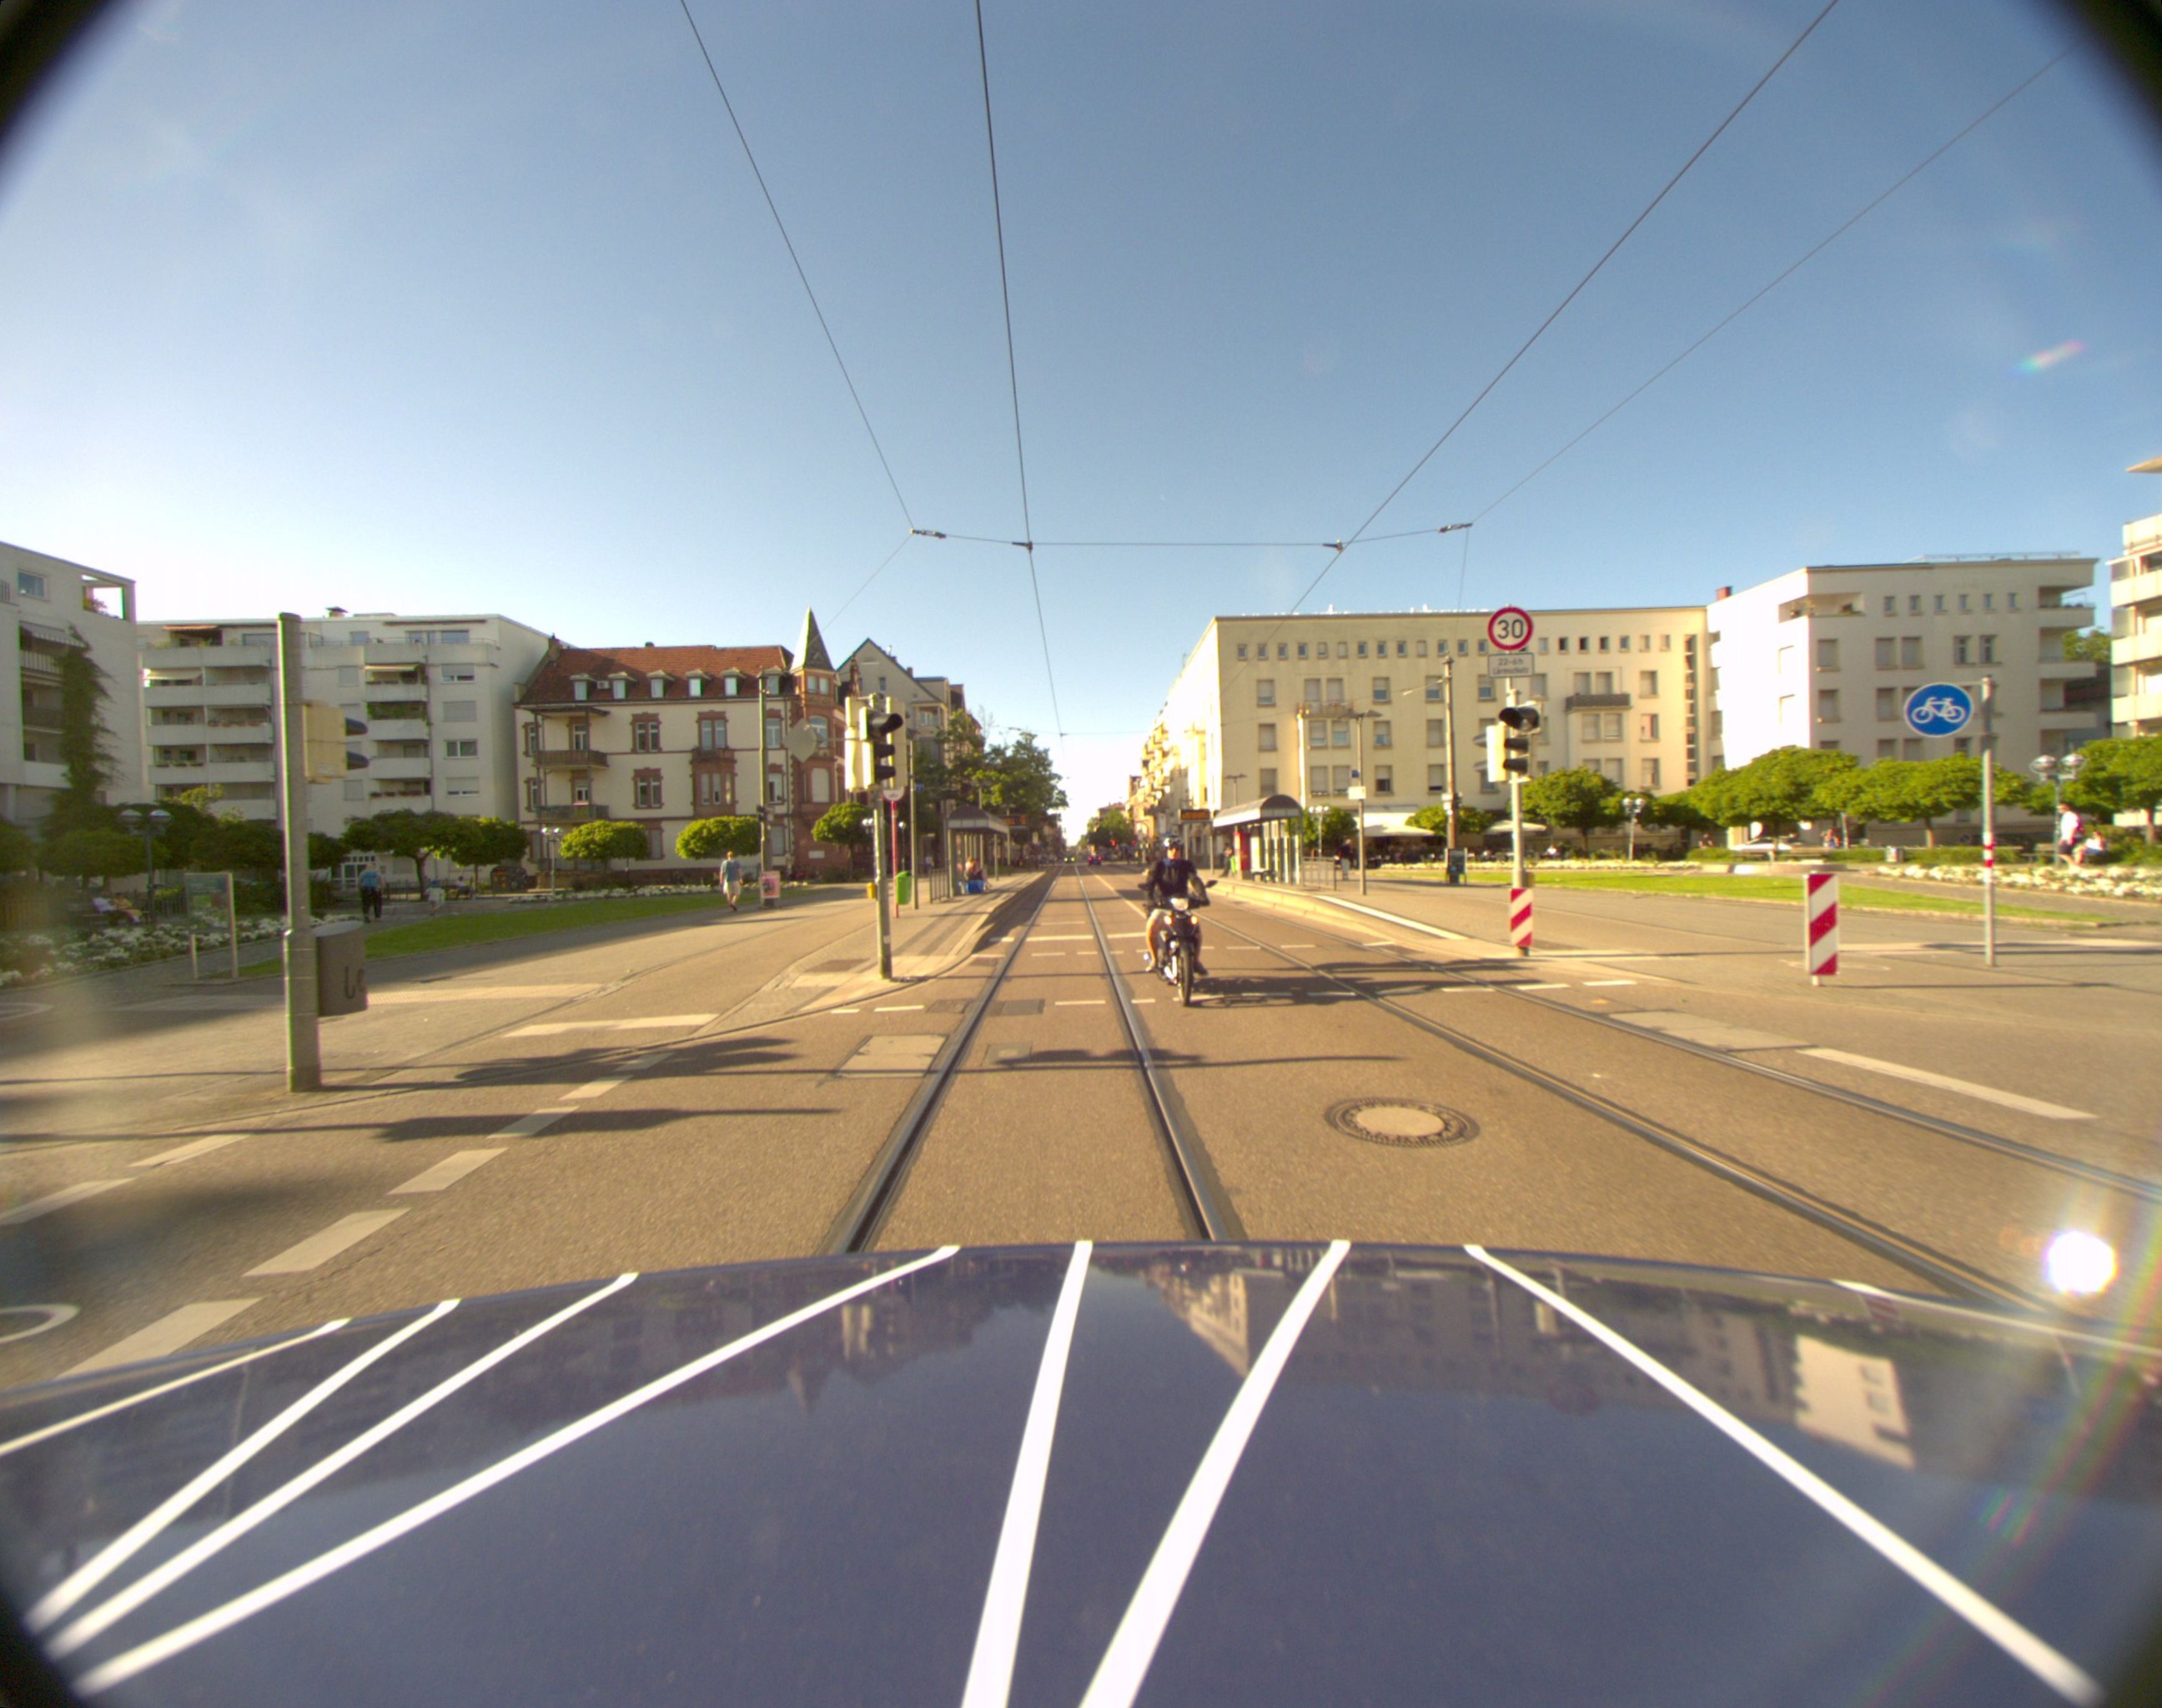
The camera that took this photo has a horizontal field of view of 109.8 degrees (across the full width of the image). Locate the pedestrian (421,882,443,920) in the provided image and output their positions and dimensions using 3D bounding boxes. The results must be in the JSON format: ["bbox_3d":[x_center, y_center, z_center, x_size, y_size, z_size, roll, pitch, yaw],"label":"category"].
[{"bbox_3d":[-19.144,1.373,22.409,0.453,1.076,0.449,-2,1,-40],"label":"pedestrian"}]

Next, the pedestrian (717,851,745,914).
[{"bbox_3d":[-10.946,0.876,23.791,0.650,1.944,0.583,-2,1,-17],"label":"pedestrian"}]

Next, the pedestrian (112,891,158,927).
[{"bbox_3d":[-32.554,1.890,26.150,0.717,1.144,0.637,-2,1,-9],"label":"pedestrian"}]

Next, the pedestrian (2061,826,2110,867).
[{"bbox_3d":[35.029,-0.264,26.493,0.838,1.410,0.667,-2,1,-2],"label":"pedestrian"}]

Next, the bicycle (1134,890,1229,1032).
[{"bbox_3d":[0.976,1.021,7.817,0.767,1.191,1.752,-2,1,2],"label":"bicycle"}]

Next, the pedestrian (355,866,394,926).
[{"bbox_3d":[-19.645,1.146,21.146,0.651,1.592,0.700,-2,1,-36],"label":"pedestrian"}]

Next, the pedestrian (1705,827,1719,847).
[{"bbox_3d":[38.461,-1.024,46.283,0.506,1.215,0.395,-2,1,5],"label":"pedestrian"}]

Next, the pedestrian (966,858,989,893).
[{"bbox_3d":[-3.718,0.773,27.337,0.774,1.197,0.610,-2,1,-9],"label":"pedestrian"}]

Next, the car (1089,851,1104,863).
[{"bbox_3d":[2.087,0.400,101.181,1.970,1.577,4.000,-2,0,1],"label":"car"}]

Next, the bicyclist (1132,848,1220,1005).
[{"bbox_3d":[0.970,0.712,7.981,0.774,1.531,0.939,-2,1,1],"label":"bicyclist"}]

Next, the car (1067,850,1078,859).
[{"bbox_3d":[-1.585,0.087,141.772,1.971,1.577,3.999,-2,0,0],"label":"car"}]

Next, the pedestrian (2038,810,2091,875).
[{"bbox_3d":[26.201,-0.307,20.261,0.669,1.686,0.837,-2,1,-40],"label":"pedestrian"}]

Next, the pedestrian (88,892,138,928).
[{"bbox_3d":[-32.453,1.865,25.474,0.768,1.144,0.637,-2,1,-9],"label":"pedestrian"}]

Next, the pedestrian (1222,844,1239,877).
[{"bbox_3d":[6.795,0.294,34.615,0.551,1.482,0.610,-2,1,-7],"label":"pedestrian"}]

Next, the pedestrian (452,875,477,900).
[{"bbox_3d":[-32.767,1.770,40.380,0.710,1.285,0.679,-2,1,-3],"label":"pedestrian"}]
